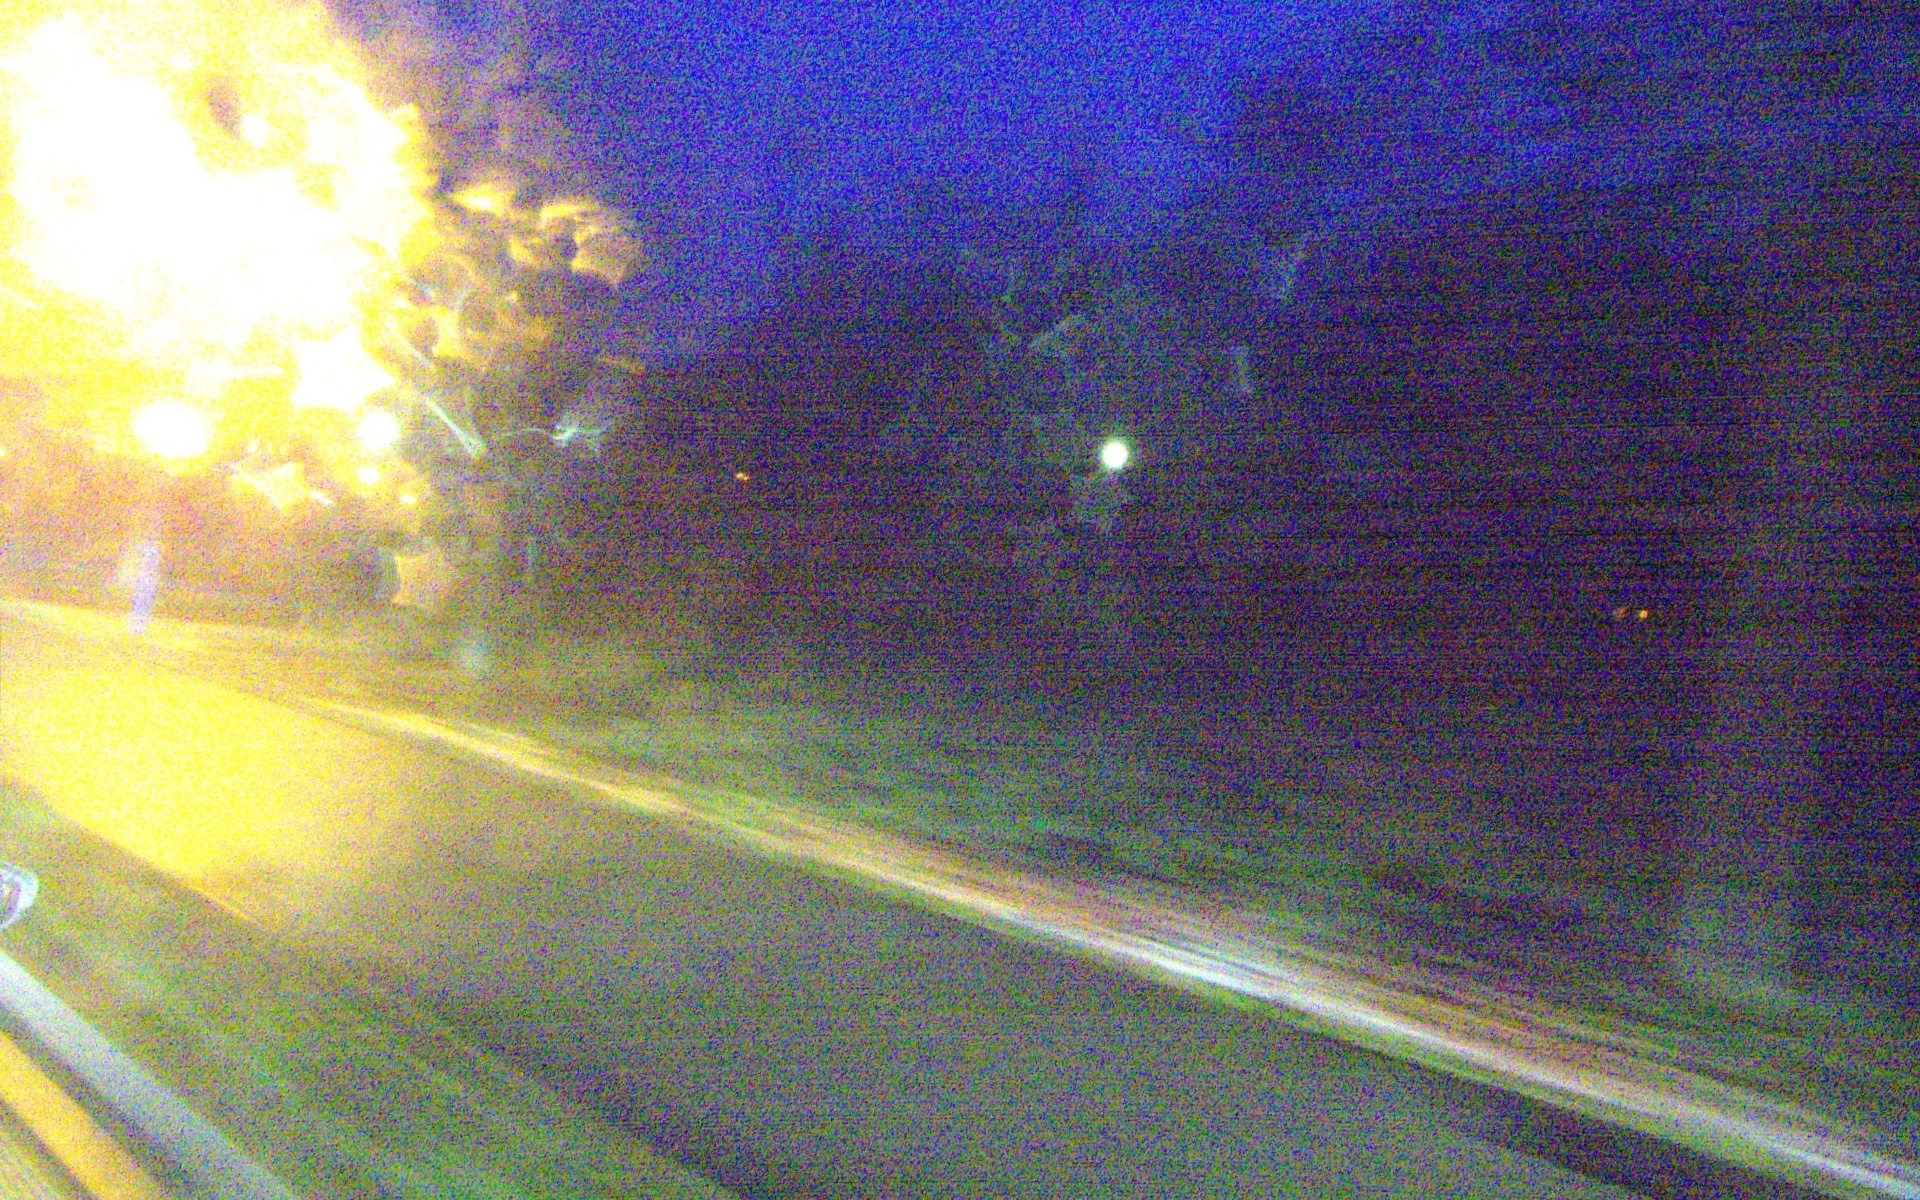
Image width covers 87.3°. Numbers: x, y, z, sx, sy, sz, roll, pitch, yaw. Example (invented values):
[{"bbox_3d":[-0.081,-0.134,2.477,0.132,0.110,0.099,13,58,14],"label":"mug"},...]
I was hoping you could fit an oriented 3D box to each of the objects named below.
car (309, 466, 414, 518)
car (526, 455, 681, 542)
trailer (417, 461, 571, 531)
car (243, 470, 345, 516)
[{"bbox_3d":[-25.793,-4.656,43.355,3.925,1.659,1.619,7,-2,19],"label":"car"},{"bbox_3d":[-13.833,-3.921,39.010,5.350,2.666,2.121,7,-1,21],"label":"car"},{"bbox_3d":[-18.989,-4.224,40.991,5.615,2.096,2.234,7,-1,21],"label":"trailer"},{"bbox_3d":[-29.685,-4.776,44.854,3.925,1.489,1.619,7,-2,19],"label":"car"}]
